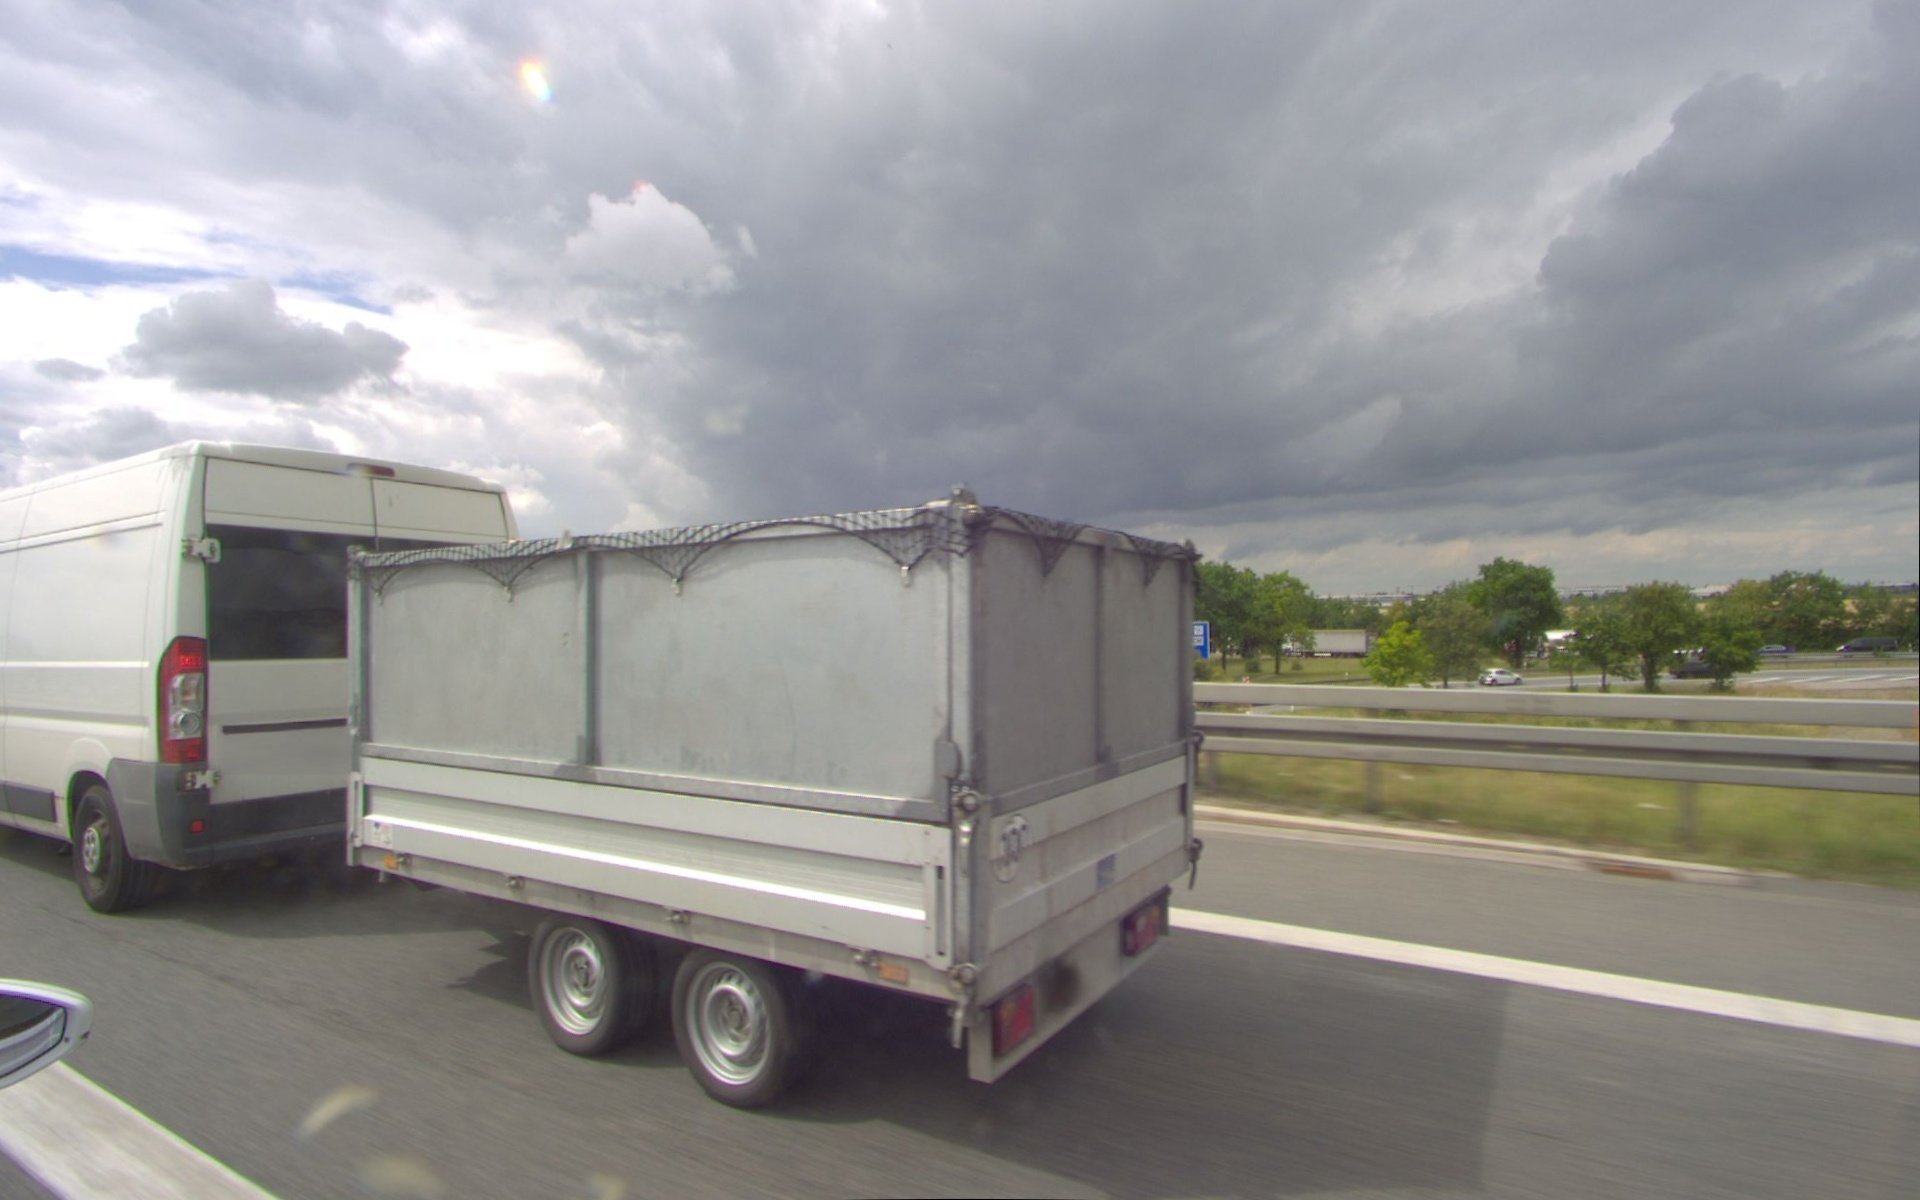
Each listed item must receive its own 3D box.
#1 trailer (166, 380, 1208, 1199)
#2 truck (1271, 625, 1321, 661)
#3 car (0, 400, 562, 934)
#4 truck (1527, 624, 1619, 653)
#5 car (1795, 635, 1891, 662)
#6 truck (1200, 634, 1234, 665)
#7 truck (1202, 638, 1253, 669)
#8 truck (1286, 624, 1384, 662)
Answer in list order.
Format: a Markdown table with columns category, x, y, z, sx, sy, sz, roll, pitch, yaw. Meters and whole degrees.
| category | x | y | z | sx | sy | sz | roll | pitch | yaw |
| --- | --- | --- | --- | --- | --- | --- | --- | --- | --- |
| trailer | -1.421 | 0.547 | 4.438 | 4.565 | 2.039 | 1.852 | -1 | -2 | 32 |
| truck | 51.519 | 6.640 | 153.612 | 3.798 | 5.380 | 6.423 | 0 | -2 | -24 |
| car | -5.679 | 0.393 | 7.194 | 6.064 | 2.485 | 2.110 | -1 | -2 | 33 |
| truck | 73.752 | 4.600 | 120.681 | 3.301 | 3.410 | 8.962 | 1 | -2 | -36 |
| car | 88.522 | 4.852 | 100.428 | 2.739 | 2.602 | 7.022 | 1 | -2 | -44 |
| truck | 46.472 | 8.906 | 181.017 | 3.785 | 5.380 | 6.444 | 0 | -2 | -7 |
| truck | 46.065 | 9.122 | 172.916 | 3.876 | 5.104 | 13.001 | 0 | -2 | -7 |
| truck | 54.771 | 6.258 | 147.044 | 3.803 | 5.281 | 14.798 | 1 | -2 | -27 |
